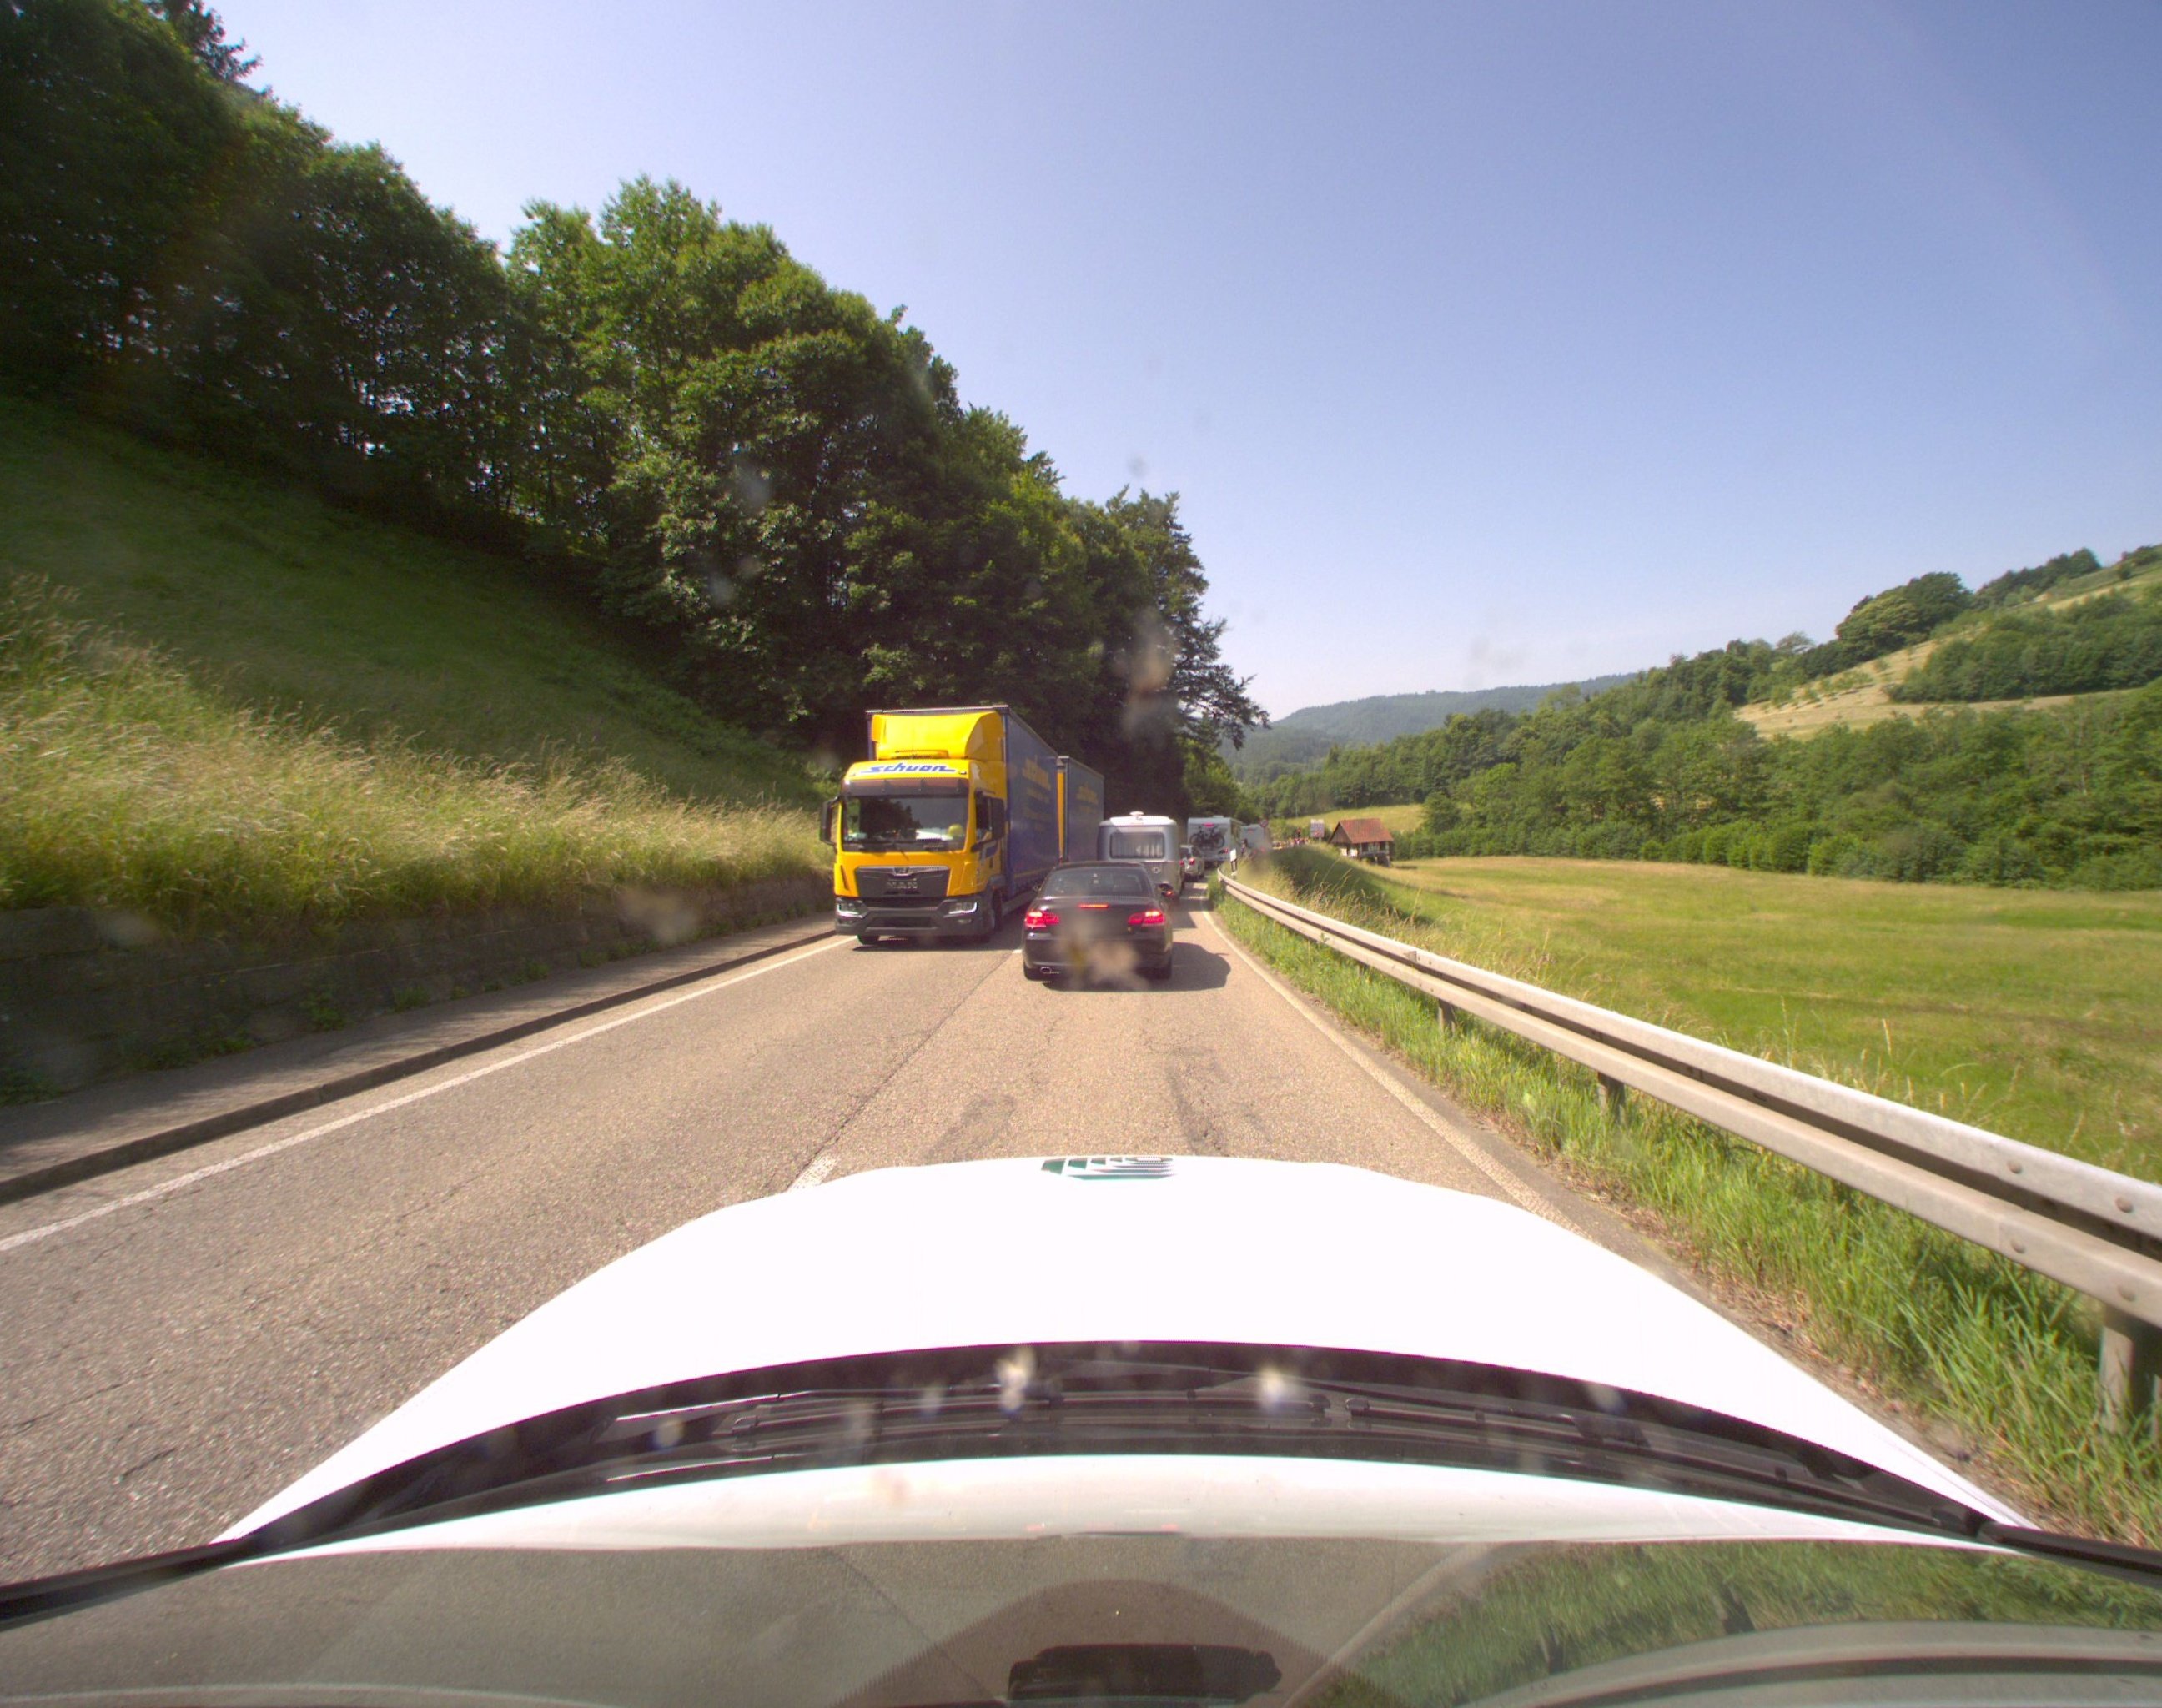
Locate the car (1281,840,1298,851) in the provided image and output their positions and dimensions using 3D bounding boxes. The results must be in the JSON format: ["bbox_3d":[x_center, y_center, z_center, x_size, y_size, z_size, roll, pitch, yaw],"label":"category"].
[{"bbox_3d":[29.543,-1.187,115.174,1.977,1.575,4.020,0,0,20],"label":"car"}]

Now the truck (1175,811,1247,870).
[{"bbox_3d":[7.364,-0.778,45.326,2.768,2.997,6.901,2,2,18],"label":"truck"}]

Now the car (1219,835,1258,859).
[{"bbox_3d":[10.628,-0.502,54.874,1.977,1.464,4.020,2,2,19],"label":"car"}]

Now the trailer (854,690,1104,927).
[{"bbox_3d":[-1.734,-1.007,22.965,3.242,4.417,15.349,0,1,7],"label":"trailer"}]

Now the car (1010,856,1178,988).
[{"bbox_3d":[0.297,0.723,10.478,1.763,1.335,3.772,0,1,5],"label":"car"}]

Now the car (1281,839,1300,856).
[{"bbox_3d":[25.241,-0.719,98.073,1.979,1.925,4.016,3,0,15],"label":"car"}]

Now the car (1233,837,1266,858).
[{"bbox_3d":[12.503,-0.512,60.364,1.772,1.464,4.021,2,2,21],"label":"car"}]

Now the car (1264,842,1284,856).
[{"bbox_3d":[21.018,-0.567,88.566,1.891,1.486,4.018,0,0,17],"label":"car"}]

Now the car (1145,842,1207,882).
[{"bbox_3d":[3.934,0.261,33.072,1.979,1.484,4.015,1,1,14],"label":"car"}]

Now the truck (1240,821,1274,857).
[{"bbox_3d":[14.454,-1.139,66.641,2.220,2.804,6.260,0,0,17],"label":"truck"}]

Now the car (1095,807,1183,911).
[{"bbox_3d":[1.624,0.068,20.943,1.983,2.353,4.924,0,1,7],"label":"car"}]

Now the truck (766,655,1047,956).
[{"bbox_3d":[-2.746,-0.802,15.347,3.171,4.396,6.585,0,2,7],"label":"truck"}]
